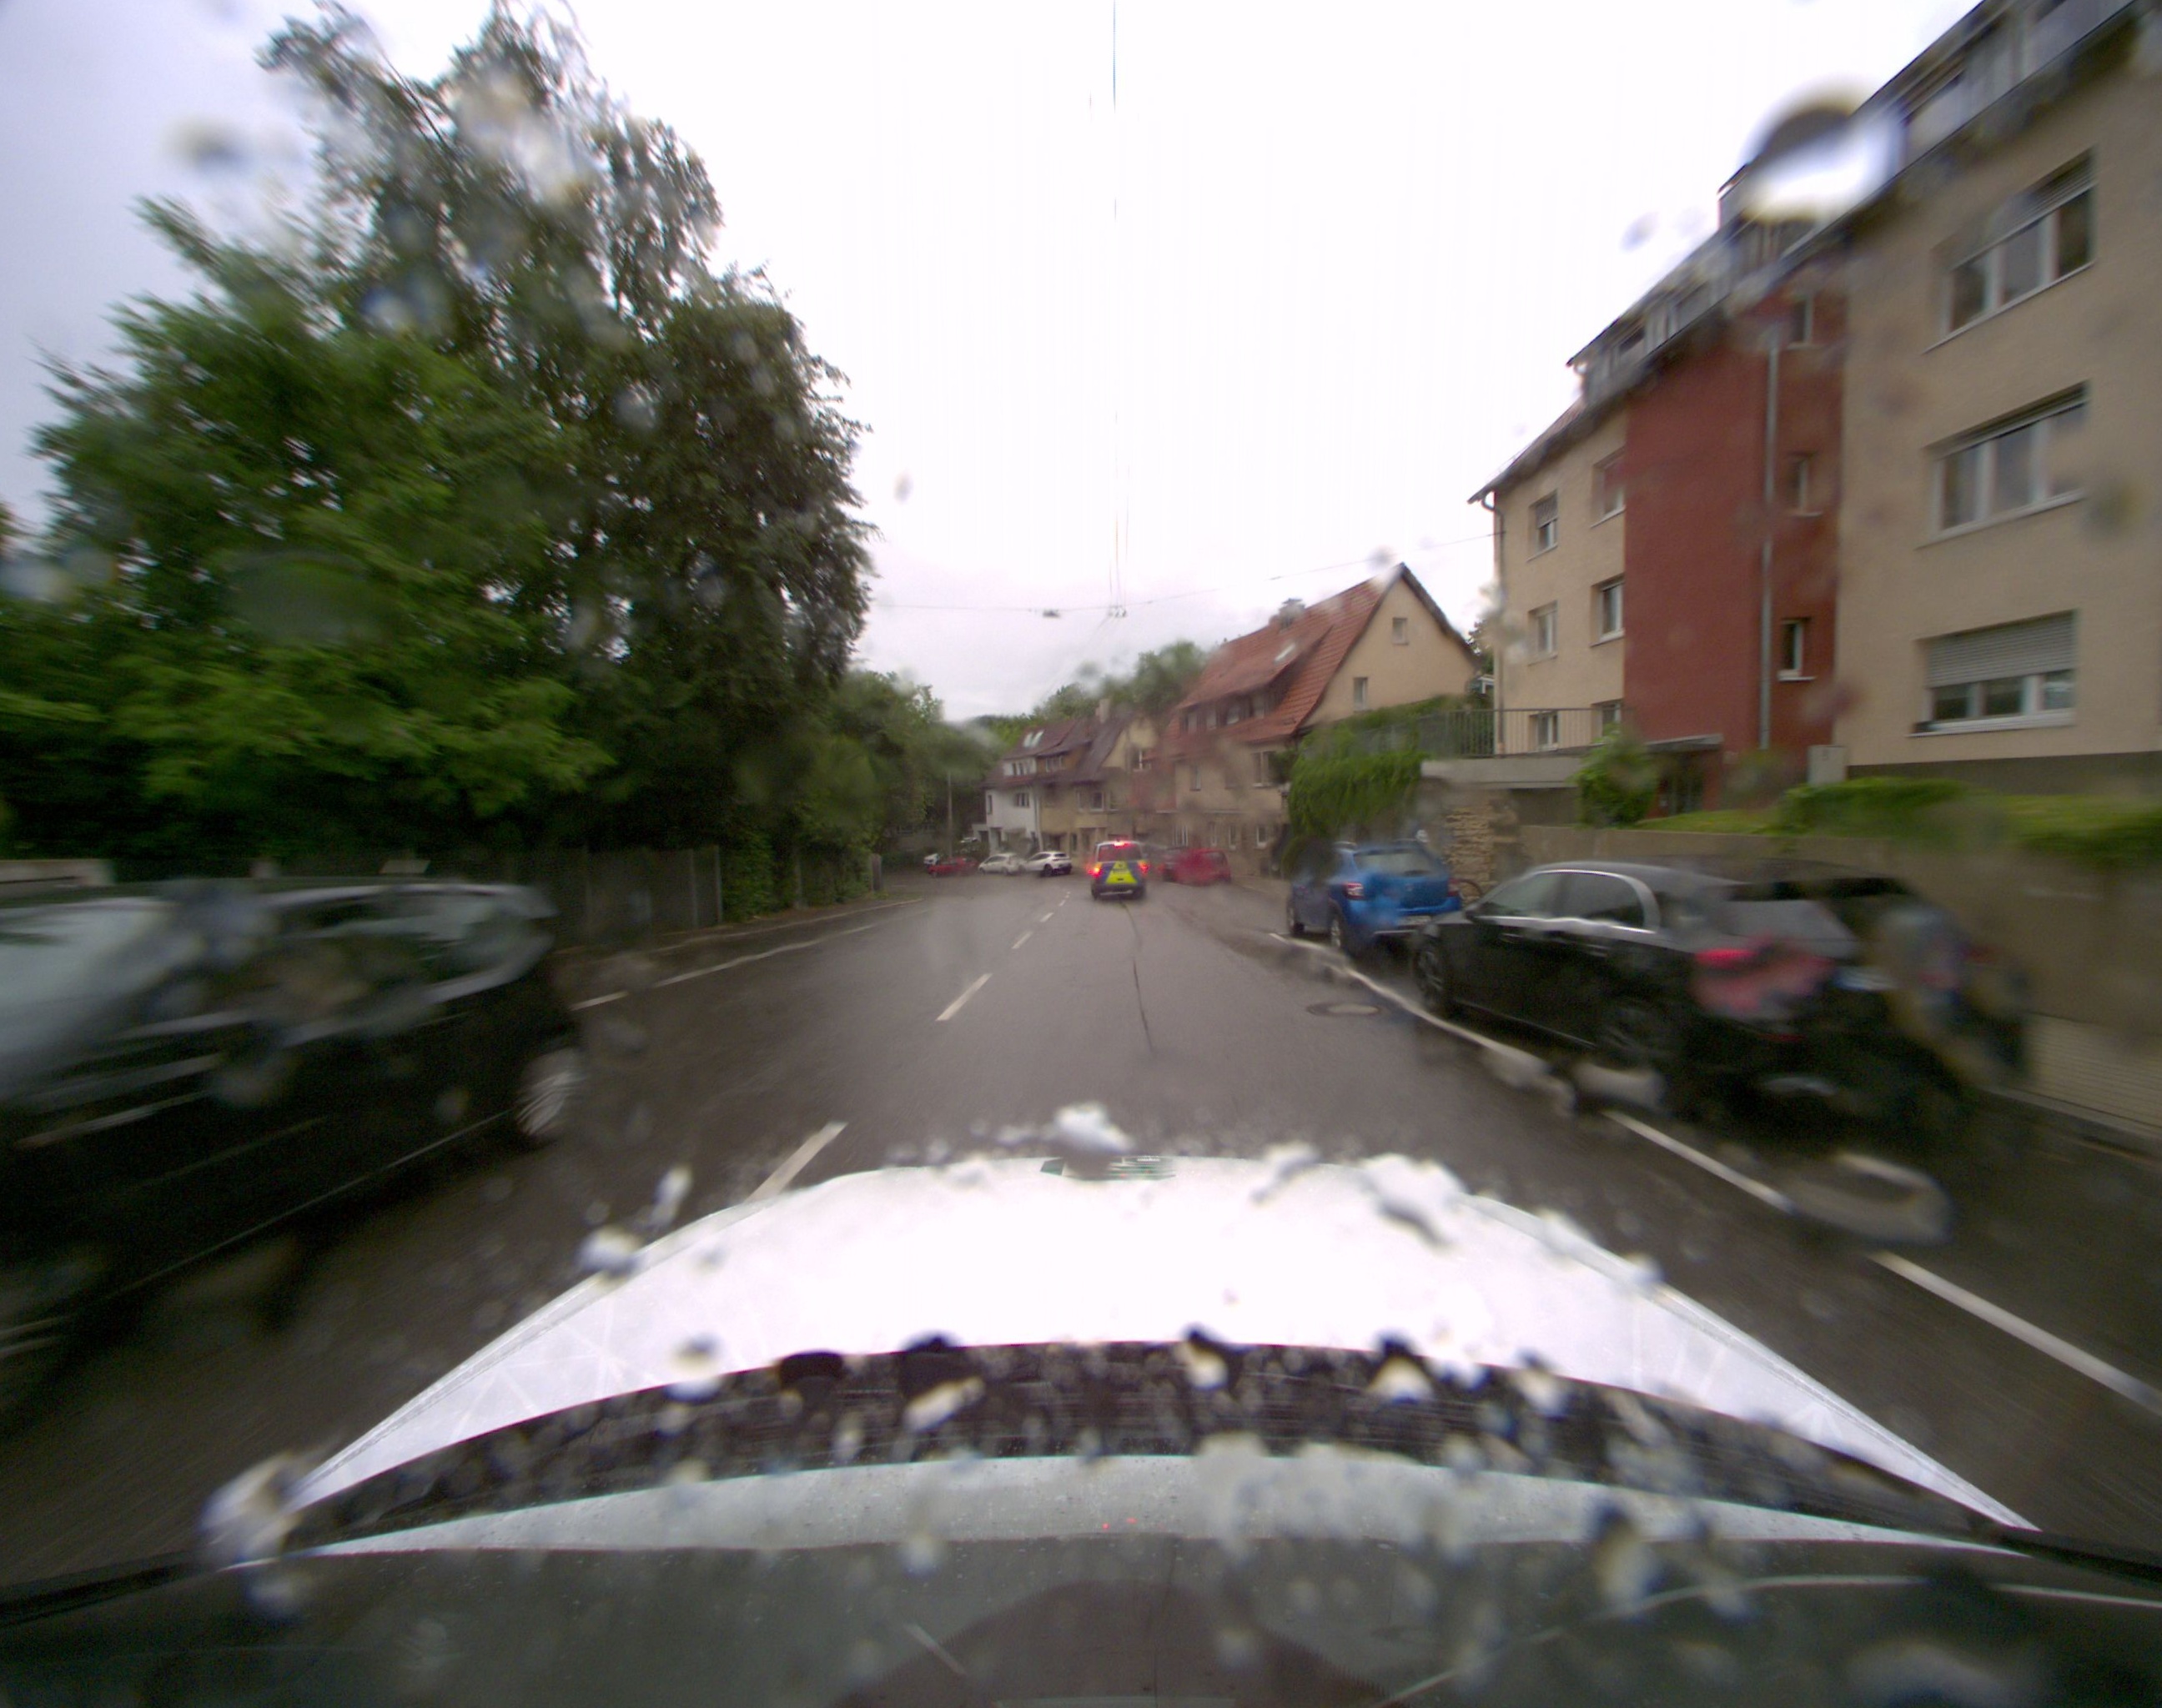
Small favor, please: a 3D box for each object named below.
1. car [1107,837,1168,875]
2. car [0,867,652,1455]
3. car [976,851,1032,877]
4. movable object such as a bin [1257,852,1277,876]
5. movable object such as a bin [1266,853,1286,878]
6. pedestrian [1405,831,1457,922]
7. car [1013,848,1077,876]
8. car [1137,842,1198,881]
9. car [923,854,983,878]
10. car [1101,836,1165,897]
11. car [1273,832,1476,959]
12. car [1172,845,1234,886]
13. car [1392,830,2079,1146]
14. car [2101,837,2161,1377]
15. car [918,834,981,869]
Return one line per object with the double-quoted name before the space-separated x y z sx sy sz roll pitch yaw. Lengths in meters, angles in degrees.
"car" 3.008 0.102 44.260 1.709 1.790 4.301 -6 2 -17
"car" -3.627 0.817 3.483 1.645 1.420 3.800 0 0 -2
"car" -5.447 0.729 57.075 1.782 1.514 3.775 -8 3 -45
"movable object such as a bin" 7.610 0.413 33.346 0.586 0.923 0.507 -6 2 -4
"movable object such as a bin" 7.798 0.444 32.575 0.594 0.923 0.514 -6 2 -4
"pedestrian" 6.560 0.403 15.271 0.623 1.650 0.609 -1 0 -29
"car" -2.403 0.537 53.516 1.930 1.538 4.364 -7 2 -38
"car" 4.111 0.309 39.359 1.615 1.604 4.396 -6 2 -10
"car" -9.487 0.905 60.250 4.141 1.367 1.798 -5 2 33
"car" 1.780 0.455 29.339 1.987 1.893 4.570 -4 -1 1
"car" 4.360 0.523 12.845 1.727 1.593 4.256 -2 1 2
"car" 5.048 0.434 34.190 1.613 1.435 3.574 -6 2 -6
"car" 3.994 0.625 6.077 1.684 1.455 4.253 -2 1 0
"car" 3.727 0.675 0.151 1.800 1.455 4.256 -2 1 2
"car" -10.745 -0.242 66.691 4.425 1.841 1.982 -17 9 -27
